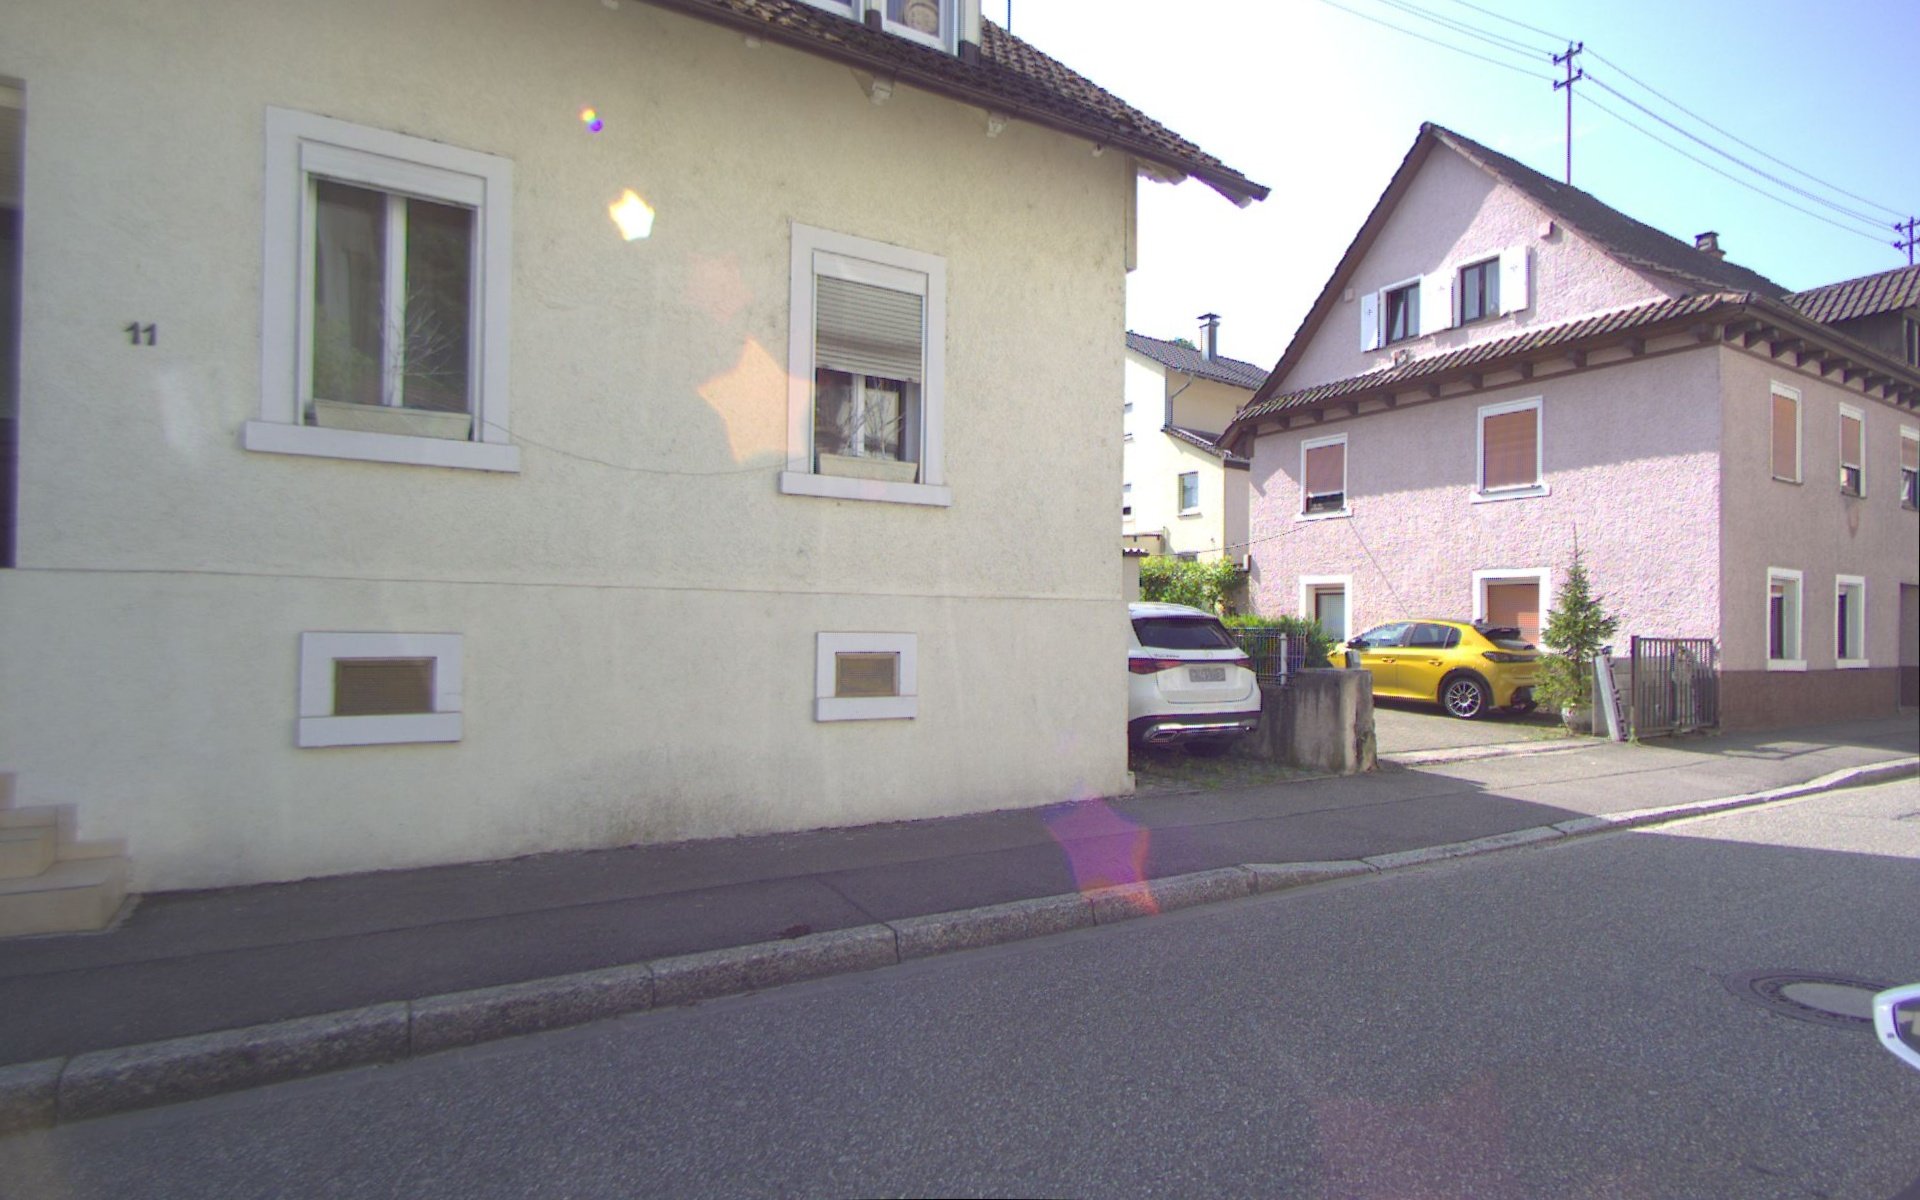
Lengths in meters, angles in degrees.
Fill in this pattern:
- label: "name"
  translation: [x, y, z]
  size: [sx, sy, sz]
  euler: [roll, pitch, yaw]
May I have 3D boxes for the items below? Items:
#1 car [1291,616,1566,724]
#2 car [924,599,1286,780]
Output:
- label: "car"
  translation: [7.374, 1.016, 16.137]
  size: [1.628, 1.411, 3.728]
  euler: [0, 1, -33]
- label: "car"
  translation: [1.416, 0.822, 11.241]
  size: [1.887, 1.615, 3.964]
  euler: [1, 0, -33]
